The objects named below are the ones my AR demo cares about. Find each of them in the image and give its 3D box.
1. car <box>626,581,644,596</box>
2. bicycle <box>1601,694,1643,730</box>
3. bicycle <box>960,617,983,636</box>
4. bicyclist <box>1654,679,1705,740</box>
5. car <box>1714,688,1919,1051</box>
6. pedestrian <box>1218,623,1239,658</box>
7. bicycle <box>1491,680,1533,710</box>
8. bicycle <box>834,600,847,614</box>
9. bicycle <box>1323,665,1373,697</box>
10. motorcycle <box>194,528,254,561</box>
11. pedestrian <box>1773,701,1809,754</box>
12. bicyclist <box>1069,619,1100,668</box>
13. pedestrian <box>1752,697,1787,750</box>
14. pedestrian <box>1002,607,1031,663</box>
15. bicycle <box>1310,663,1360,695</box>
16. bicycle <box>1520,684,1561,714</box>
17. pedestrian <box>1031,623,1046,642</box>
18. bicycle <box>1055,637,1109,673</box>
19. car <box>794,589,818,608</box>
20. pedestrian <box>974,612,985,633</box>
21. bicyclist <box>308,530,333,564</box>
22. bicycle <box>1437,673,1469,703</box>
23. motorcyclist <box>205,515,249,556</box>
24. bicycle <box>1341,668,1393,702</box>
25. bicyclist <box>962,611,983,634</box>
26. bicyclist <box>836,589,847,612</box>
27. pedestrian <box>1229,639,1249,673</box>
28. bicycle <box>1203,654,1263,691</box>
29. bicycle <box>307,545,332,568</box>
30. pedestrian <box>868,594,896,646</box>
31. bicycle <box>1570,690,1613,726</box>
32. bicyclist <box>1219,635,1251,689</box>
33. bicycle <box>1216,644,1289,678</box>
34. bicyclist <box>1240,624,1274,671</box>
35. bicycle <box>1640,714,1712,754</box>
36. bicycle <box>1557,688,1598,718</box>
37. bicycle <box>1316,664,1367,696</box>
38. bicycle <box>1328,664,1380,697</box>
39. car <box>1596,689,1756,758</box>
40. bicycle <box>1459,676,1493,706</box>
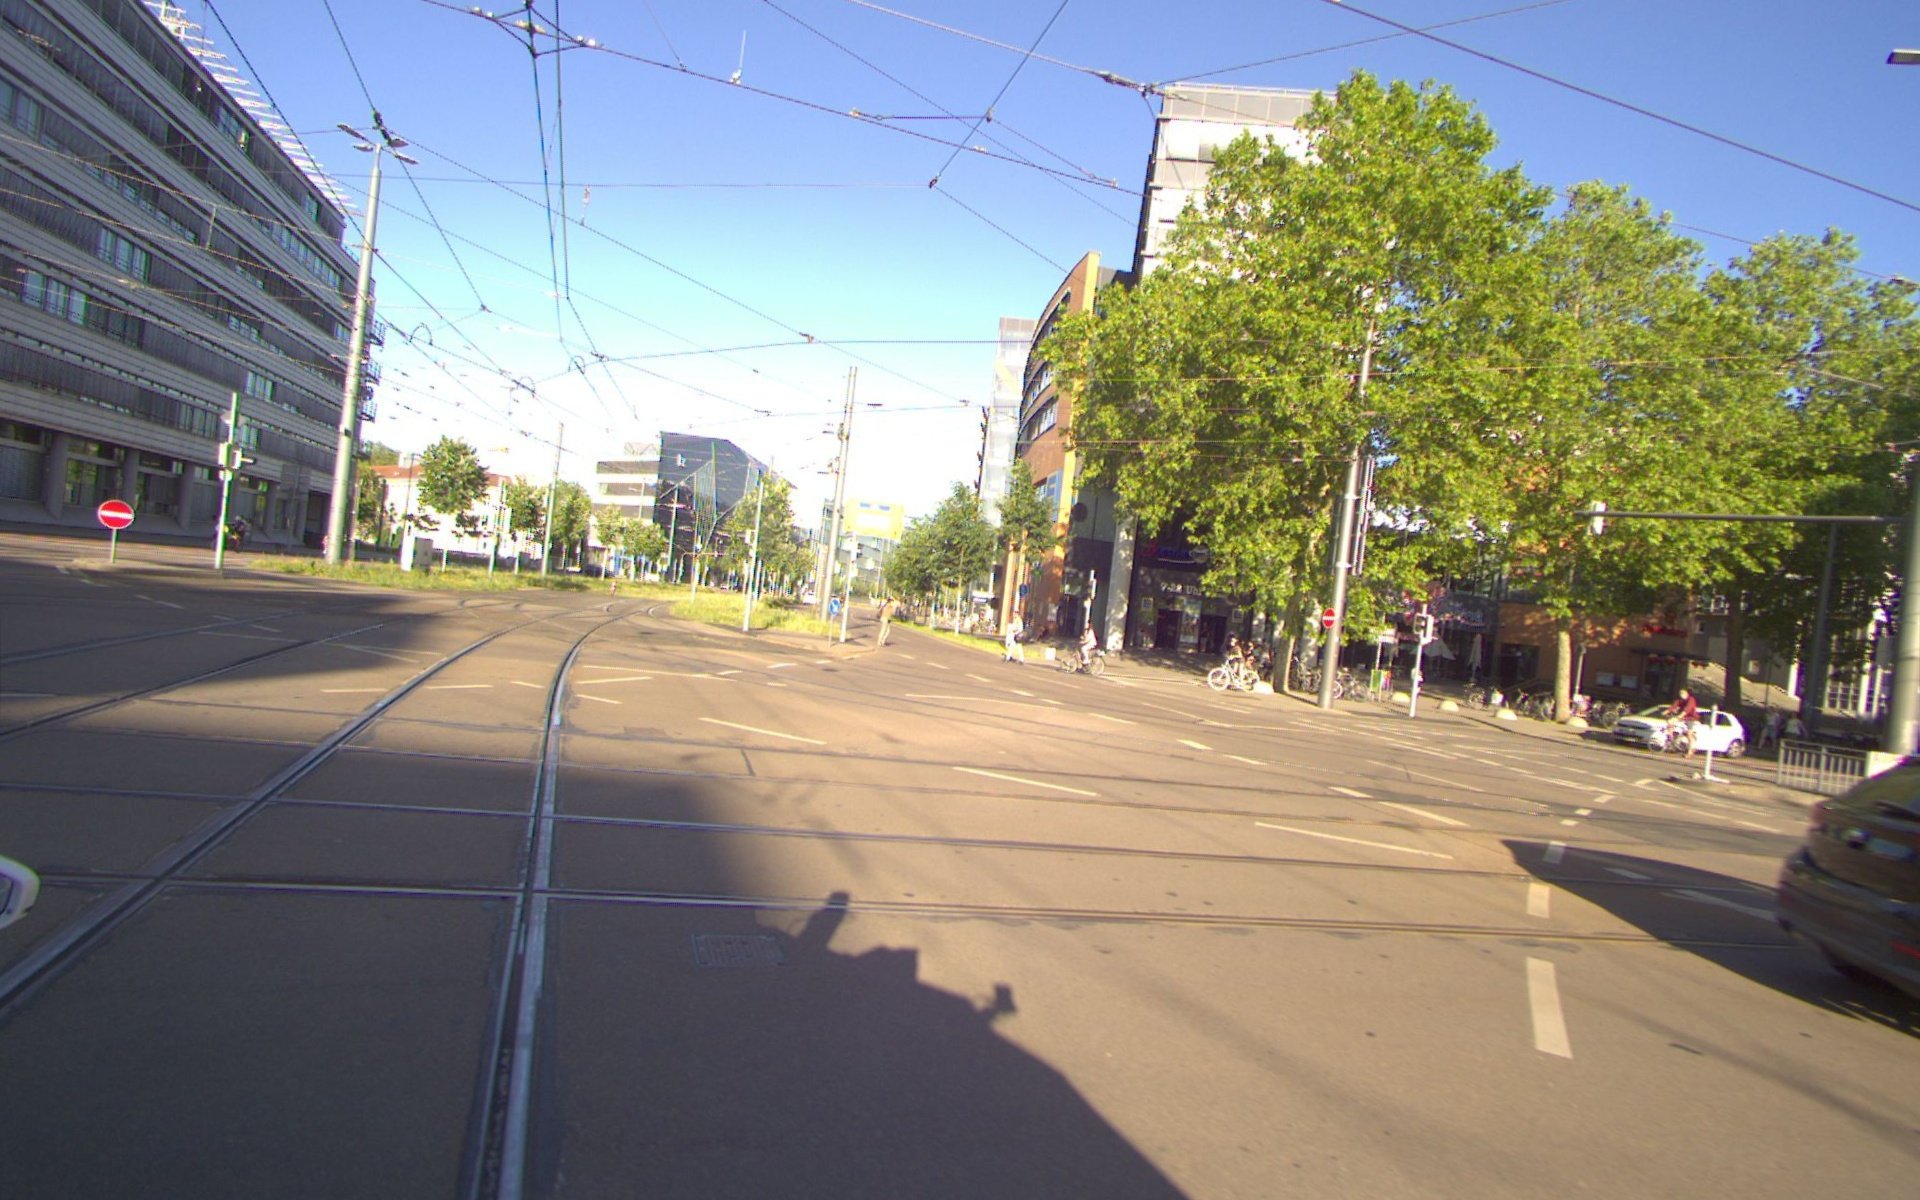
[{"bbox_3d":[-42.136,-1.529,130.504,1.745,1.745,3.898,7,-1,-12],"label":"car"},{"bbox_3d":[25.834,4.377,39.217,0.866,1.250,2.918,7,0,42],"label":"bicycle"},{"bbox_3d":[0.751,1.793,69.080,1.025,1.146,3.177,7,-1,-8],"label":"bicycle"},{"bbox_3d":[20.642,3.138,28.878,0.914,1.635,0.635,6,0,-17],"label":"bicyclist"},{"bbox_3d":[6.452,1.461,4.674,4.228,1.484,1.798,6,0,13],"label":"car"},{"bbox_3d":[15.267,2.308,57.226,0.834,1.873,0.810,8,-1,9],"label":"pedestrian"},{"bbox_3d":[23.748,4.107,43.245,0.866,1.105,2.918,7,0,42],"label":"bicycle"},{"bbox_3d":[-14.682,0.895,123.959,1.000,1.599,3.575,6,-1,0],"label":"bicycle"},{"bbox_3d":[14.316,2.993,37.126,1.681,0.998,0.390,6,0,-8],"label":"bicycle"},{"bbox_3d":[-35.053,-2.616,47.977,0.970,1.246,2.939,6,-1,-10],"label":"motorcycle"},{"bbox_3d":[29.613,4.534,35.851,0.609,1.798,0.640,6,0,-21],"label":"pedestrian"},{"bbox_3d":[4.155,1.449,33.628,0.732,1.521,0.569,6,0,-9],"label":"bicyclist"},{"bbox_3d":[29.425,4.480,36.588,0.609,1.798,0.640,6,0,-21],"label":"pedestrian"},{"bbox_3d":[1.981,1.230,35.206,0.689,1.858,0.515,7,-1,15],"label":"pedestrian"},{"bbox_3d":[14.181,2.981,38.029,1.681,0.998,0.390,6,0,-8],"label":"bicycle"},{"bbox_3d":[25.042,4.274,43.370,0.866,1.105,2.918,7,0,42],"label":"bicycle"},{"bbox_3d":[4.613,1.909,59.173,0.771,1.070,0.814,6,0,2],"label":"pedestrian"},{"bbox_3d":[4.077,1.834,33.596,1.605,1.033,0.515,6,-1,-11],"label":"bicycle"},{"bbox_3d":[-15.590,-0.159,101.921,1.873,1.525,4.001,8,-2,-3],"label":"car"},{"bbox_3d":[1.579,1.822,82.230,0.695,1.589,0.622,6,0,-4],"label":"pedestrian"},{"bbox_3d":[-34.324,-2.857,54.019,0.755,1.687,0.990,7,0,-19],"label":"bicyclist"},{"bbox_3d":[21.530,3.835,43.986,0.861,1.105,2.933,7,0,20],"label":"bicycle"},{"bbox_3d":[-35.010,-3.059,48.050,1.005,1.752,1.458,6,-1,-10],"label":"motorcyclist"},{"bbox_3d":[14.593,3.052,36.053,1.681,0.998,0.390,6,0,-8],"label":"bicycle"},{"bbox_3d":[0.853,1.527,69.011,1.025,1.398,1.562,7,-1,-8],"label":"bicyclist"},{"bbox_3d":[-14.594,0.088,123.907,1.000,2.656,1.472,6,0,0],"label":"bicyclist"},{"bbox_3d":[13.661,2.729,49.250,0.763,1.545,0.564,6,0,10],"label":"pedestrian"},{"bbox_3d":[9.146,2.422,33.715,1.827,1.033,0.516,6,-1,-10],"label":"bicycle"},{"bbox_3d":[-34.387,-2.343,54.032,0.635,1.121,1.678,7,-1,-19],"label":"bicycle"},{"bbox_3d":[-2.559,0.658,32.957,0.649,1.601,0.487,7,0,-17],"label":"pedestrian"},{"bbox_3d":[25.065,4.287,39.892,0.866,1.250,2.918,7,0,42],"label":"bicycle"},{"bbox_3d":[9.217,2.078,33.729,0.732,1.715,0.569,6,0,-11],"label":"bicyclist"},{"bbox_3d":[13.133,2.746,45.242,2.992,1.127,0.836,7,0,13],"label":"bicycle"},{"bbox_3d":[13.319,2.140,45.206,1.207,1.955,0.835,7,0,13],"label":"bicyclist"},{"bbox_3d":[20.551,3.845,28.870,1.831,0.921,0.650,7,0,-17],"label":"bicycle"},{"bbox_3d":[25.865,4.338,42.122,0.866,1.105,2.918,7,0,42],"label":"bicycle"},{"bbox_3d":[14.252,3.001,37.581,1.681,0.998,0.390,6,0,-8],"label":"bicycle"},{"bbox_3d":[14.356,2.944,36.665,1.681,0.998,0.390,6,0,-8],"label":"bicycle"},{"bbox_3d":[22.404,3.855,31.525,3.941,1.503,1.994,8,-2,-17],"label":"car"},{"bbox_3d":[22.431,3.949,43.779,0.861,1.105,2.933,7,0,20],"label":"bicycle"}]
